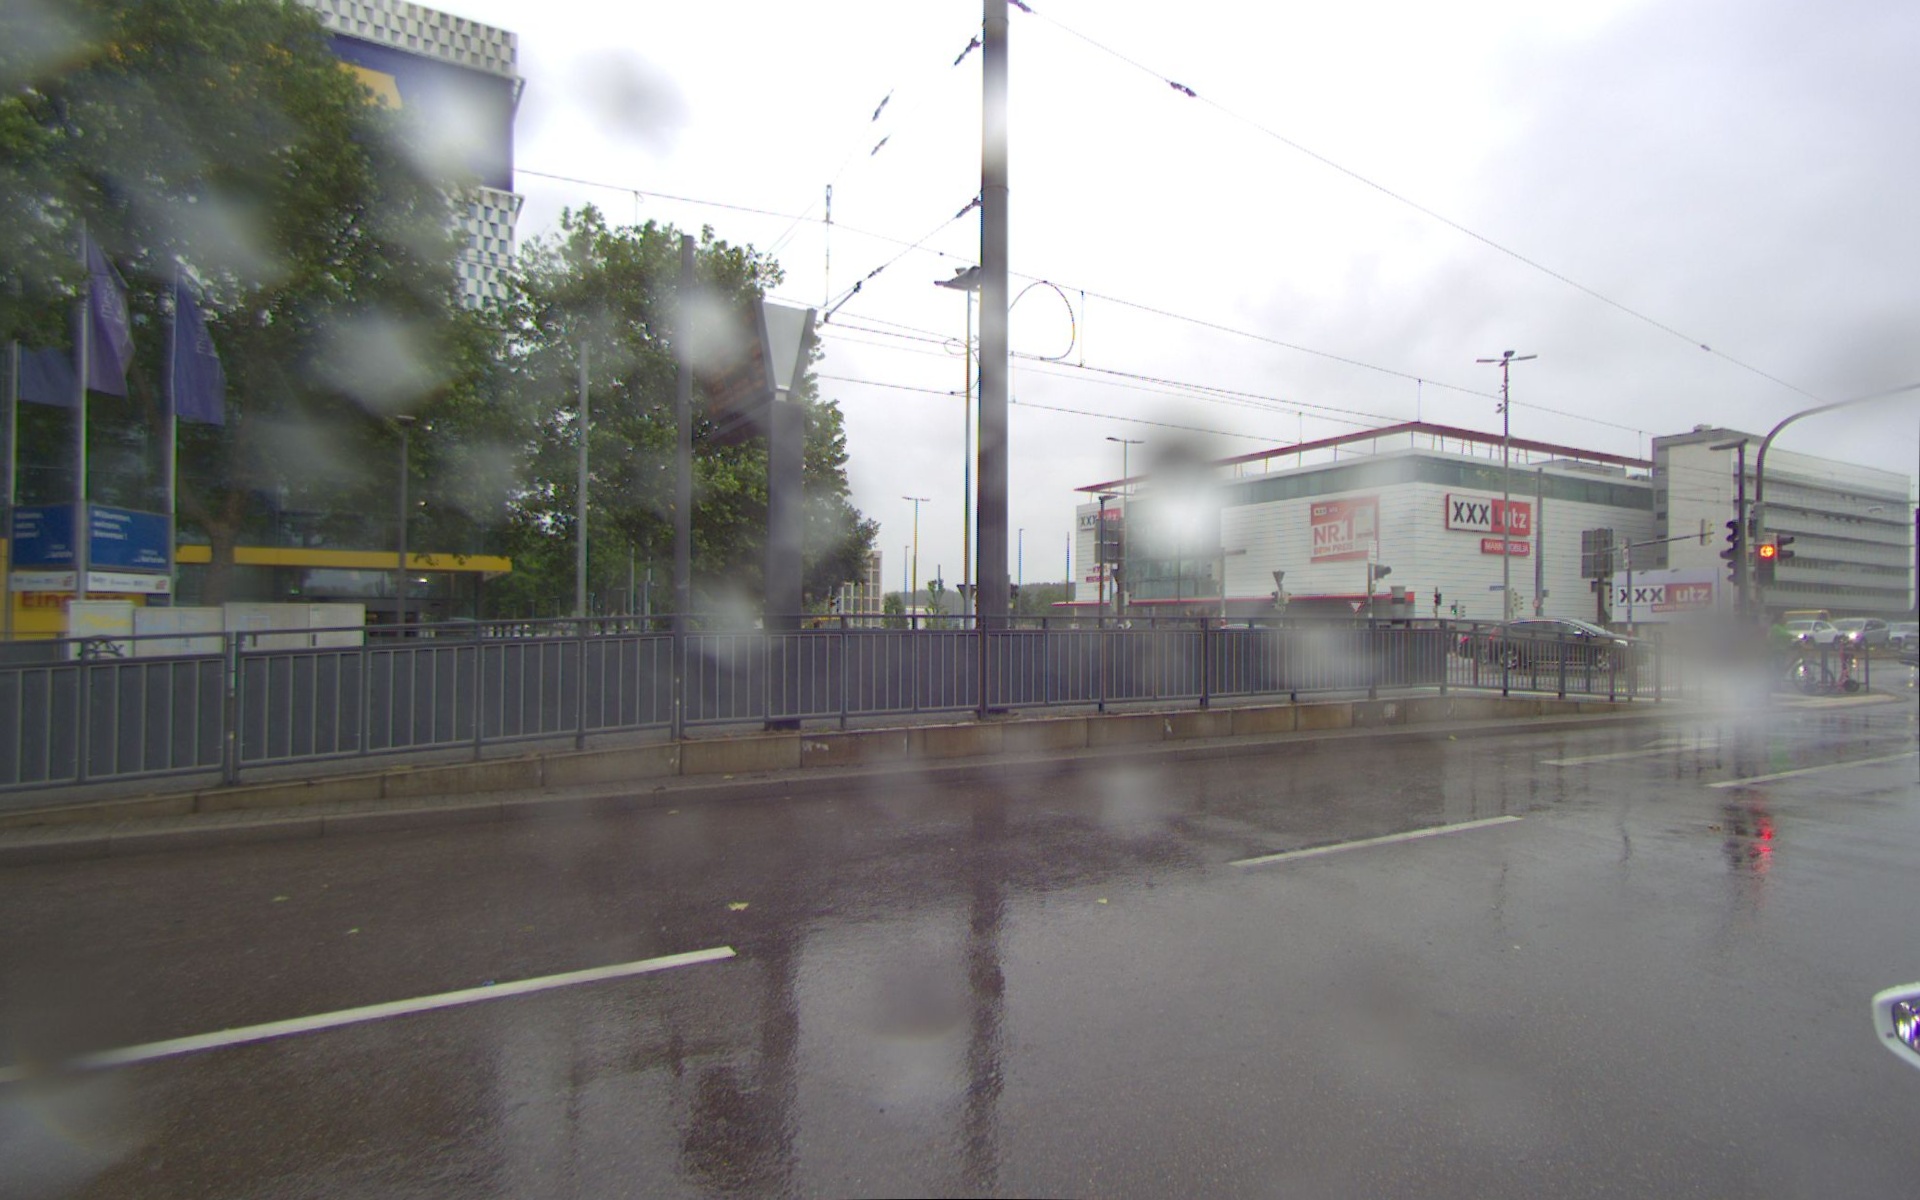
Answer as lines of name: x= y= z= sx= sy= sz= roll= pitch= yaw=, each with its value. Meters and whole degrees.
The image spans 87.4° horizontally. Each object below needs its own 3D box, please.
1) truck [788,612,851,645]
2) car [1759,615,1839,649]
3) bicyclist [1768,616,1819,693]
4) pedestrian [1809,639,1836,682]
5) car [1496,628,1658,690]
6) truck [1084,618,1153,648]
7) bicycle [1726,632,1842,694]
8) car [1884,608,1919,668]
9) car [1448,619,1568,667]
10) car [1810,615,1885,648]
truck: x=-11.635 y=2.279 z=82.539 sx=2.445 sy=2.240 sz=7.329 roll=3 pitch=1 yaw=-31
car: x=39.805 y=1.519 z=47.629 sx=3.765 sy=1.445 sz=1.702 roll=2 pitch=1 yaw=-30
bicyclist: x=16.901 y=1.094 z=20.376 sx=0.593 sy=1.511 sz=0.600 roll=2 pitch=1 yaw=20
pedestrian: x=18.482 y=1.291 z=21.526 sx=0.376 sy=0.909 sz=0.313 roll=1 pitch=2 yaw=-32
car: x=18.576 y=1.734 z=30.369 sx=1.525 sy=1.417 sz=3.873 roll=0 pitch=3 yaw=-43
truck: x=12.313 y=2.538 z=78.549 sx=1.990 sy=1.968 sz=5.847 roll=3 pitch=1 yaw=-31
bicycle: x=16.735 y=1.266 z=20.442 sx=1.724 sy=1.153 sz=0.520 roll=2 pitch=1 yaw=18
car: x=26.663 y=1.090 z=25.443 sx=4.425 sy=1.521 sz=1.712 roll=3 pitch=1 yaw=26
car: x=19.891 y=1.537 z=36.558 sx=3.384 sy=1.417 sz=1.651 roll=3 pitch=2 yaw=8
car: x=44.784 y=1.595 z=50.683 sx=3.765 sy=1.445 sz=1.702 roll=2 pitch=1 yaw=-30
